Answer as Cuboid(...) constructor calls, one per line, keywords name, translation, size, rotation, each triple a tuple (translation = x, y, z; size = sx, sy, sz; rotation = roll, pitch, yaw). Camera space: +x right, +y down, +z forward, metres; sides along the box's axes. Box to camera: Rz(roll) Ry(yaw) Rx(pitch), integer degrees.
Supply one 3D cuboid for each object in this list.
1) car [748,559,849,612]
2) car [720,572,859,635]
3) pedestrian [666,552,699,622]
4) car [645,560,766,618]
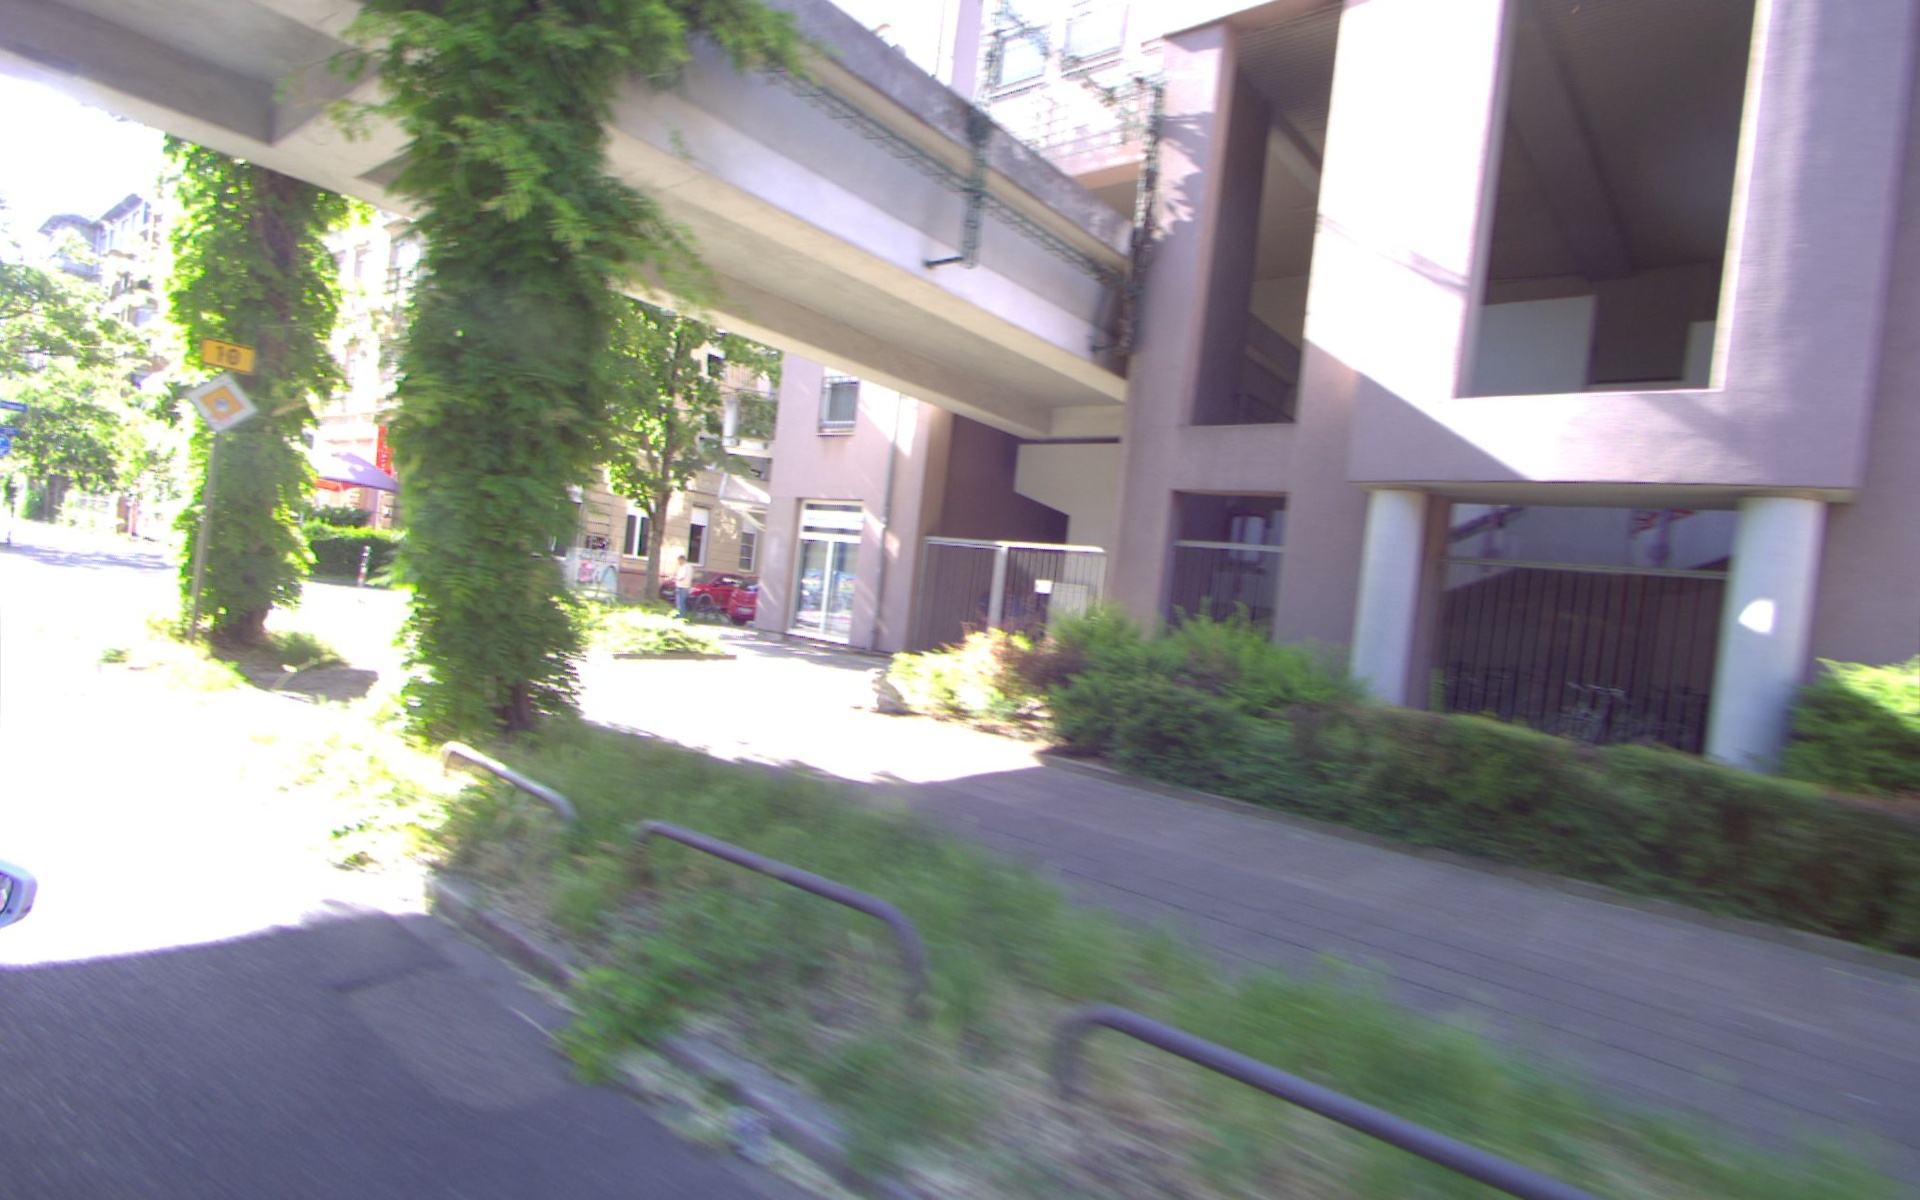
Cuboid(name="car", translation=(-6.324, -0.544, 39.817), size=(1.666, 1.615, 3.994), rotation=(7, -1, 29))
Cuboid(name="car", translation=(-4.856, 0.145, 29.202), size=(1.664, 1.481, 3.991), rotation=(7, 1, 31))
Cuboid(name="pedestrian", translation=(-6.573, -0.318, 23.810), size=(0.524, 1.597, 0.630), rotation=(5, 2, -25))
Cuboid(name="car", translation=(-9.006, -0.349, 35.920), size=(1.748, 1.458, 3.995), rotation=(10, 1, 30))
